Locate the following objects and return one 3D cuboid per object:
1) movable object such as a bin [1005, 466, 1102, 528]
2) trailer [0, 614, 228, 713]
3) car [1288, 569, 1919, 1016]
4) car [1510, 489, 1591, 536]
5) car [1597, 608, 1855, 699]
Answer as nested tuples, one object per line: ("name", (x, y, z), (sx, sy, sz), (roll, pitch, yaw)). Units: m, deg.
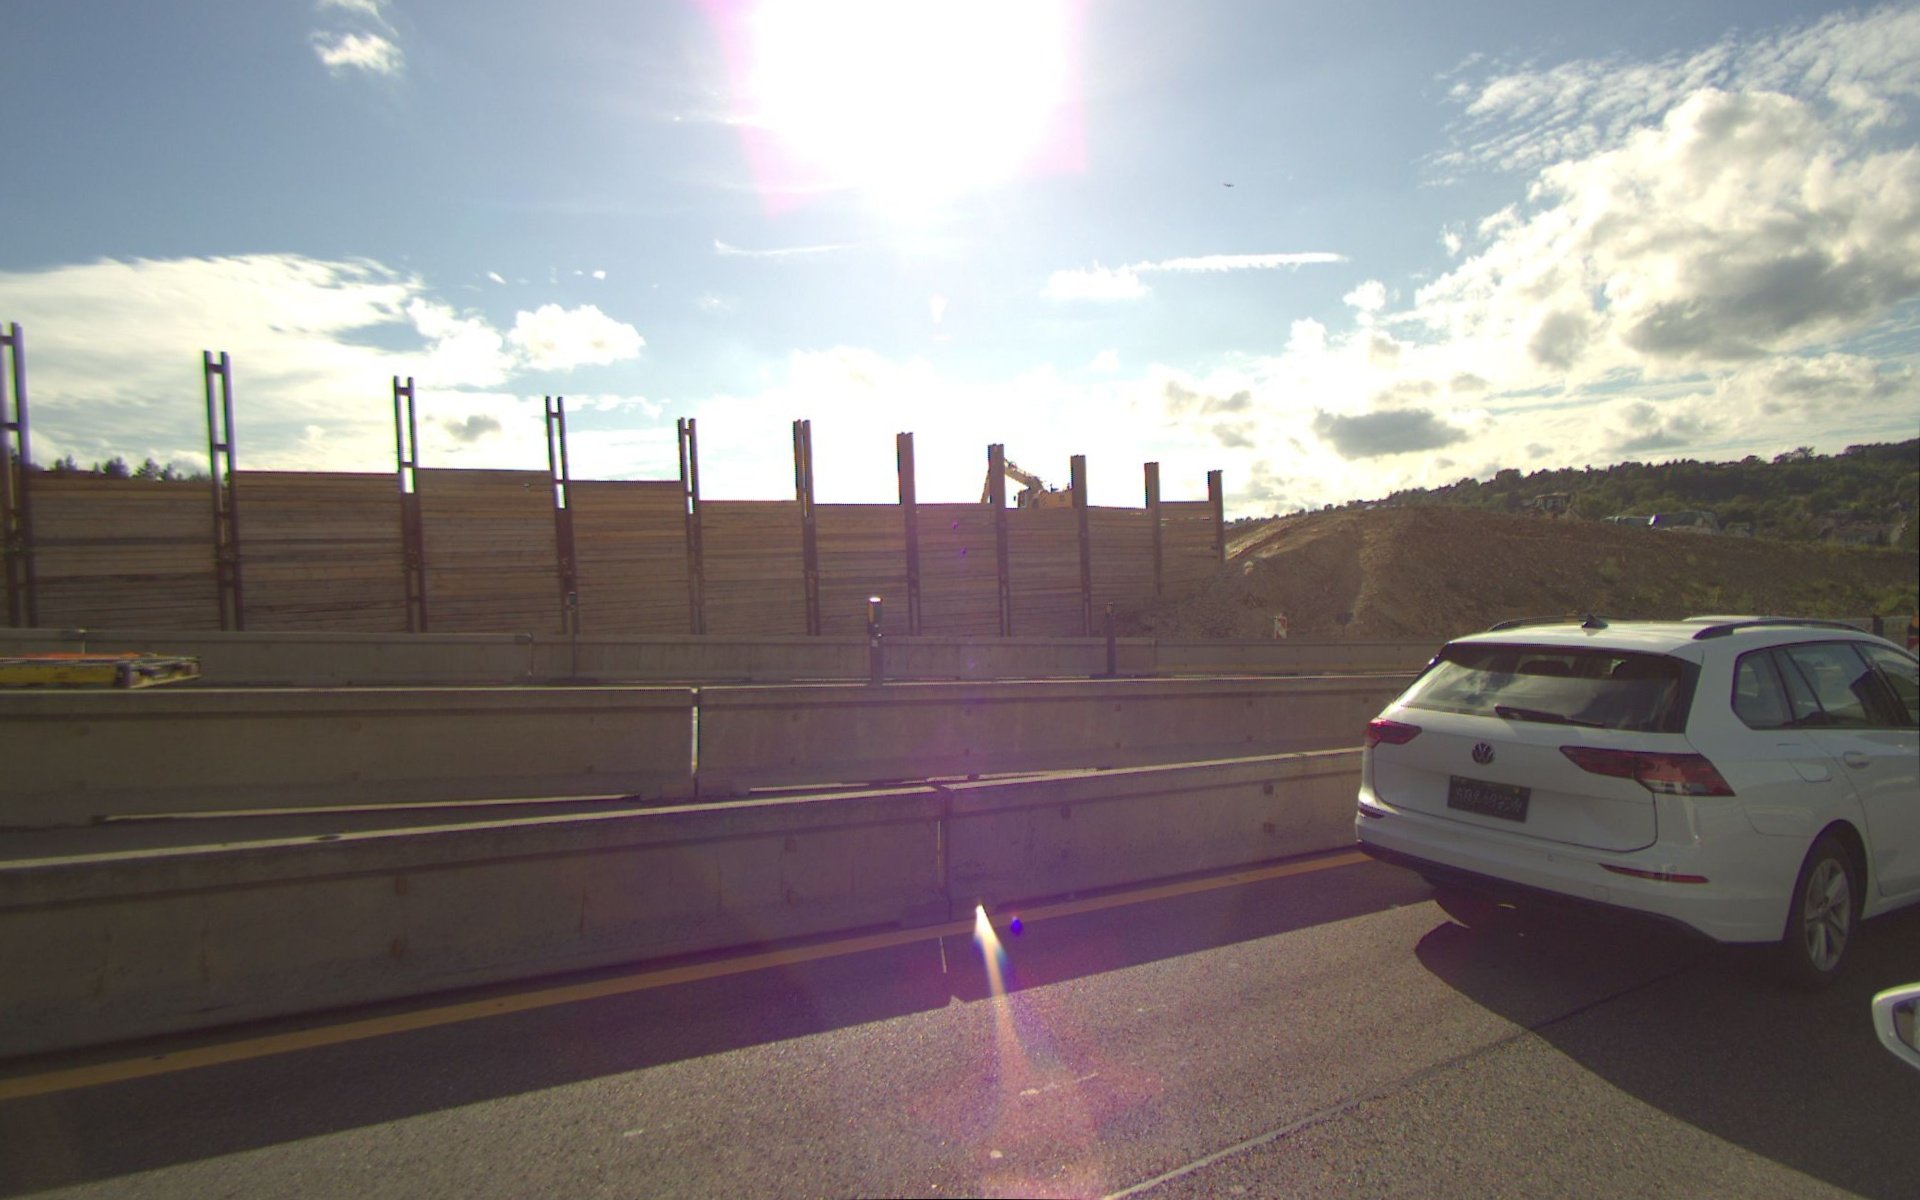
("movable object such as a bin", (6.161, -6.811, 67.391), (4.441, 3.314, 5.741), (2, 0, -19))
("trailer", (-13.827, 0.582, 10.071), (10.176, 0.952, 2.347), (2, 0, -22))
("car", (3.992, 0.754, 5.290), (4.463, 1.510, 1.762), (3, -2, -30))
("car", (36.006, -5.284, 61.215), (5.262, 2.167, 1.984), (2, -5, -32))
("car", (13.896, 0.920, 18.203), (4.496, 1.459, 1.847), (1, 0, -25))
